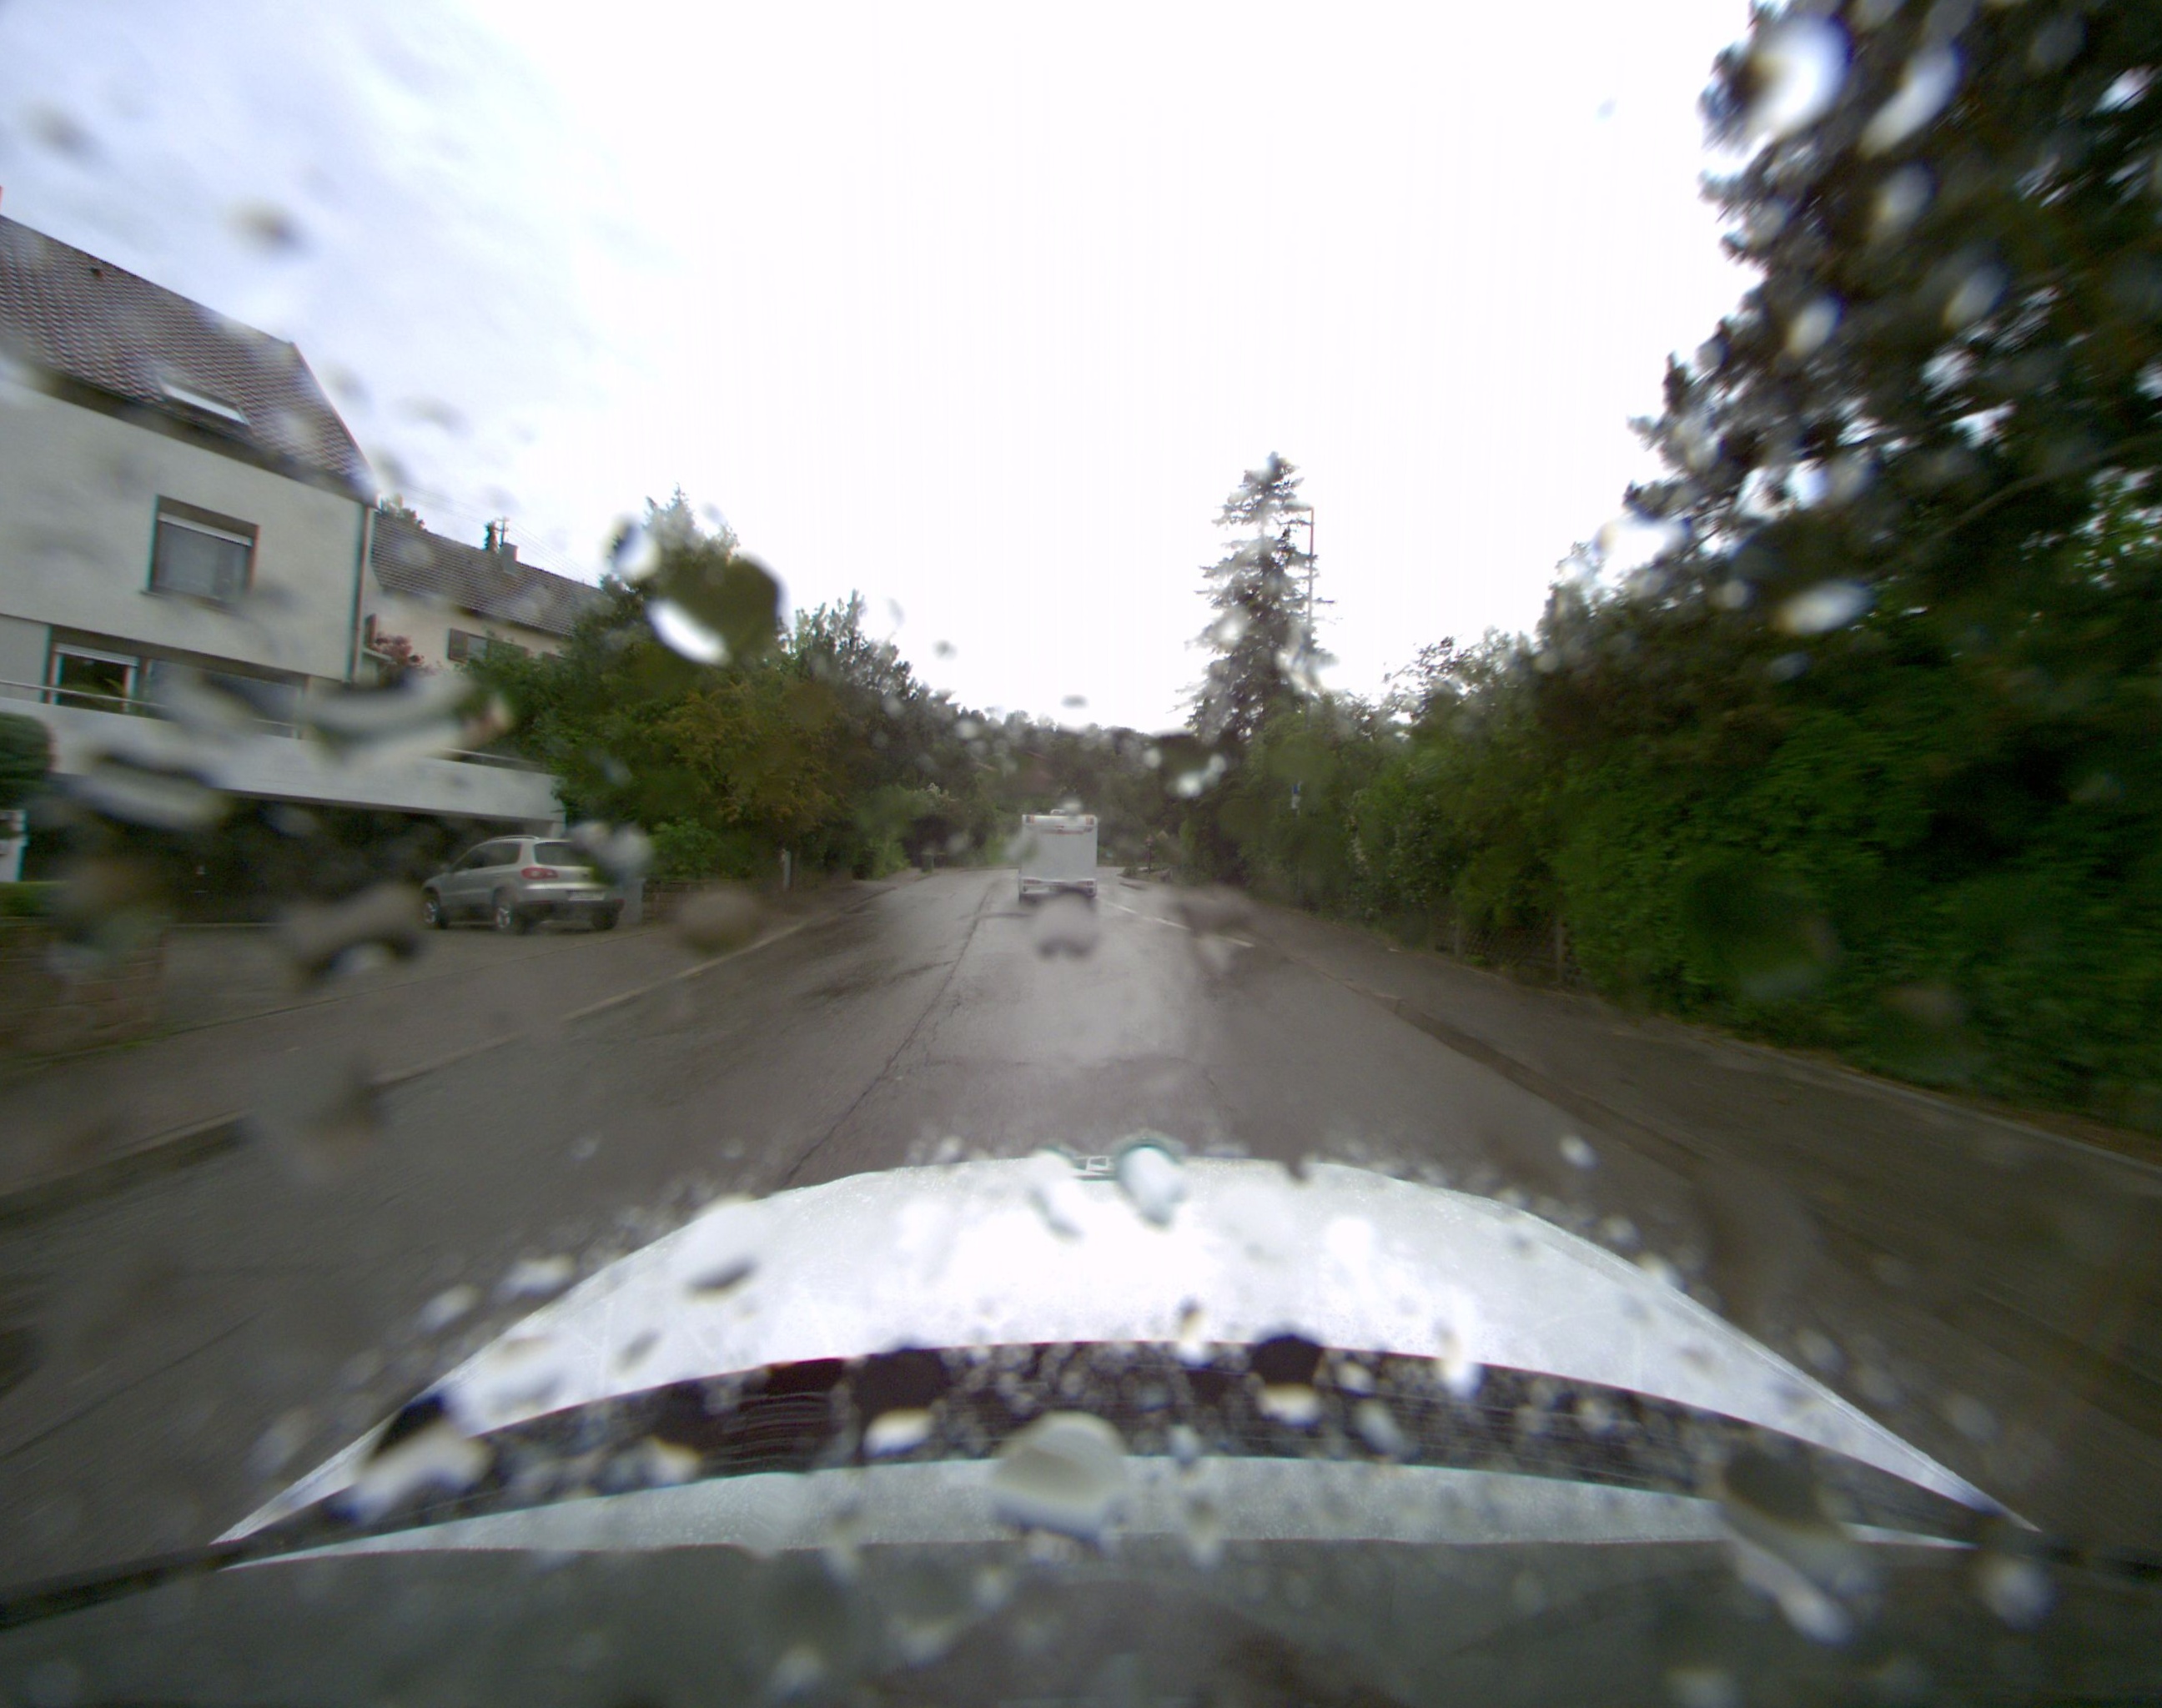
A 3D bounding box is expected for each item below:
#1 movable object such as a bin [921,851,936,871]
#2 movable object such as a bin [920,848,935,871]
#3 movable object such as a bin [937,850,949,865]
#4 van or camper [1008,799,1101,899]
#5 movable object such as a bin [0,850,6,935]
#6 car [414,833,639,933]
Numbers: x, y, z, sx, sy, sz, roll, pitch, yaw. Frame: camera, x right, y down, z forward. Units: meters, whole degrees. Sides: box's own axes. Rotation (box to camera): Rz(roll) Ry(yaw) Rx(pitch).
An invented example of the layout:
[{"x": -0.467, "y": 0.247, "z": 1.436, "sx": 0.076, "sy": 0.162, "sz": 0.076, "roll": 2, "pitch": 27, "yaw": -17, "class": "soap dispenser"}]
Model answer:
[{"x": -8.286, "y": 0.389, "z": 44.224, "sx": 0.740, "sy": 1.094, "sz": 0.756, "roll": 1, "pitch": 0, "yaw": -7, "class": "movable object such as a bin"}, {"x": -8.485, "y": 0.323, "z": 45.100, "sx": 0.740, "sy": 1.253, "sz": 0.756, "roll": 1, "pitch": 0, "yaw": -7, "class": "movable object such as a bin"}, {"x": -9.608, "y": 0.267, "z": 56.622, "sx": 0.754, "sy": 1.022, "sz": 0.742, "roll": 1, "pitch": 0, "yaw": -6, "class": "movable object such as a bin"}, {"x": -0.877, "y": -0.068, "z": 26.460, "sx": 2.609, "sy": 2.853, "sz": 6.025, "roll": 1, "pitch": -1, "yaw": -2, "class": "van or camper"}, {"x": -14.048, "y": 0.478, "z": 10.108, "sx": 0.807, "sy": 1.053, "sz": 0.705, "roll": 1, "pitch": 0, "yaw": 27, "class": "movable object such as a bin"}, {"x": -10.028, "y": 0.548, "z": 14.685, "sx": 3.894, "sy": 1.585, "sz": 1.875, "roll": -3, "pitch": -2, "yaw": 31, "class": "car"}]
